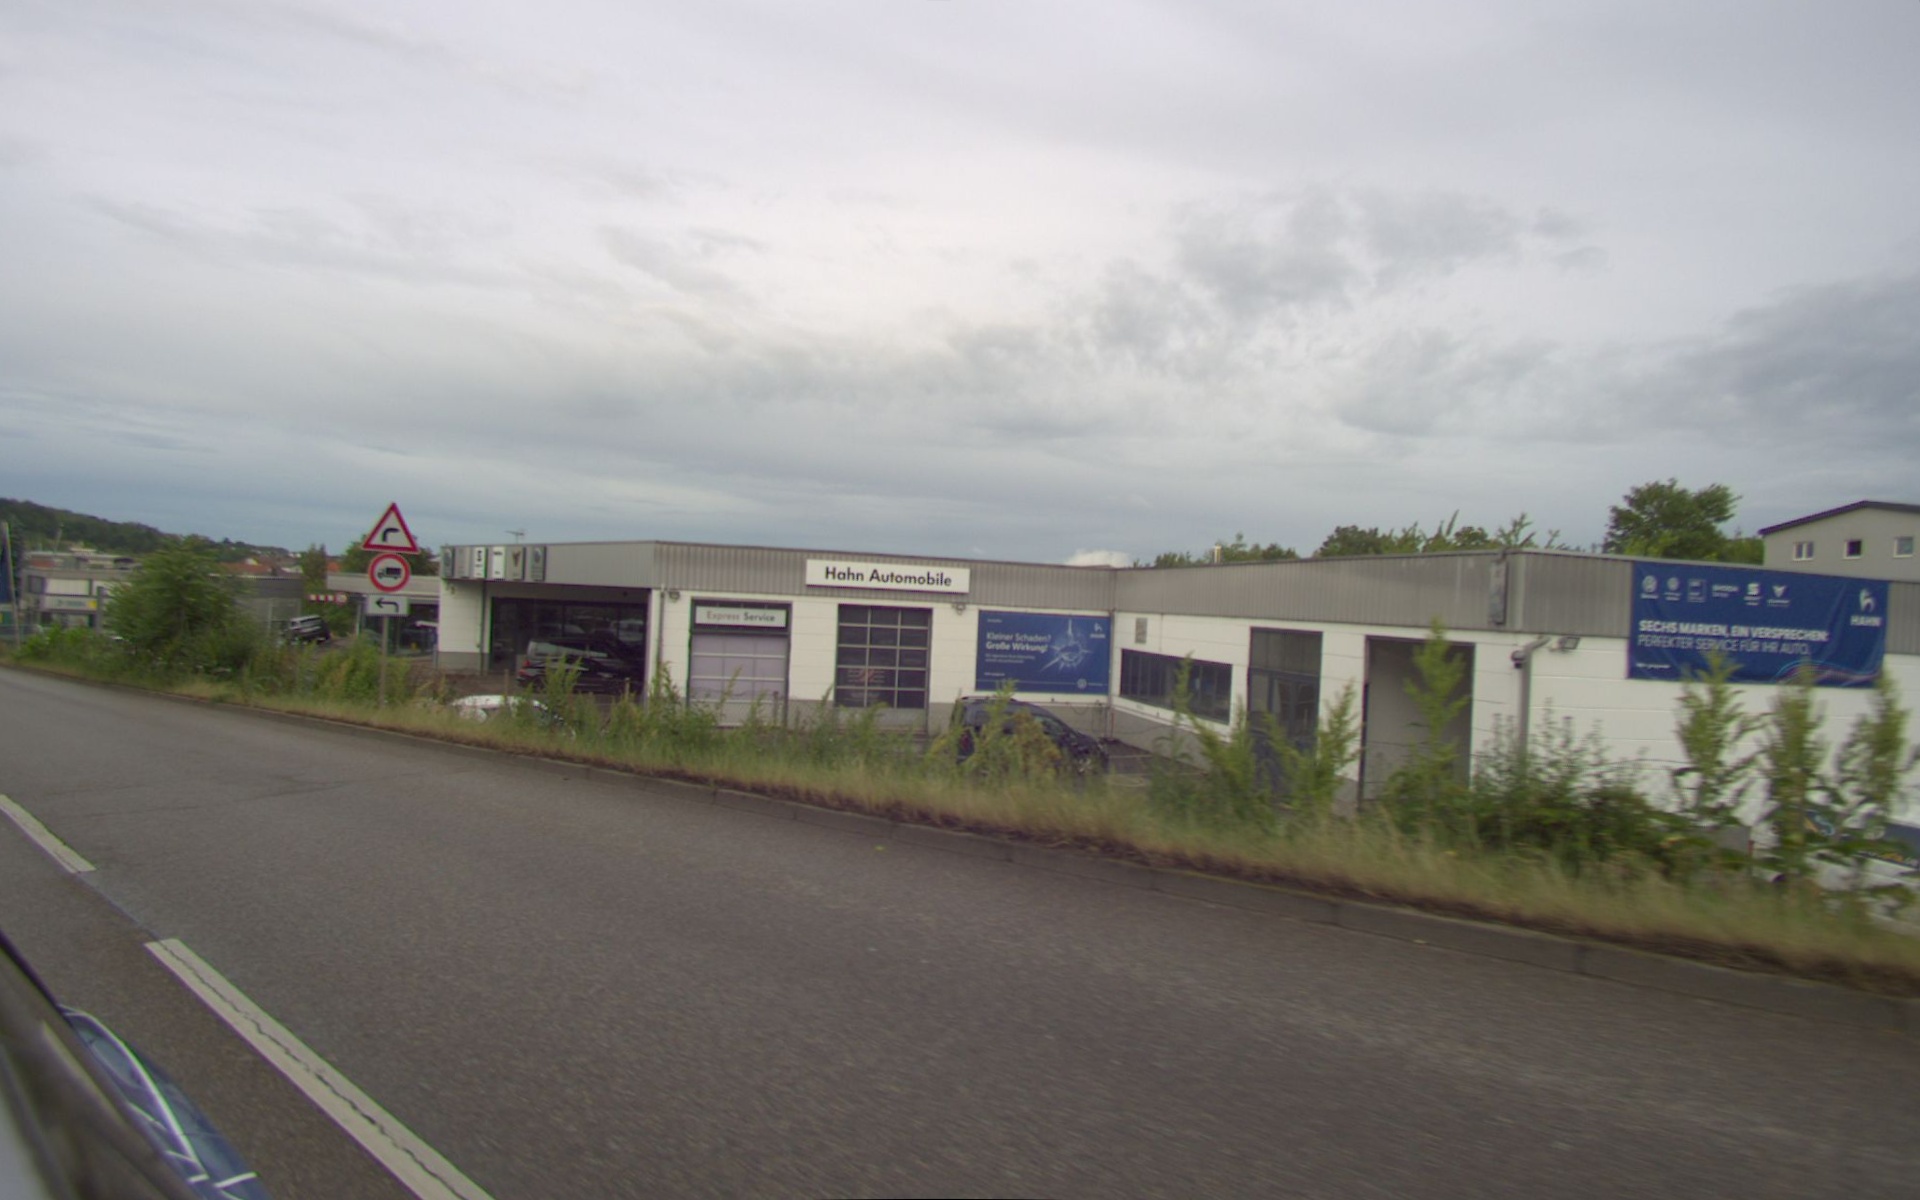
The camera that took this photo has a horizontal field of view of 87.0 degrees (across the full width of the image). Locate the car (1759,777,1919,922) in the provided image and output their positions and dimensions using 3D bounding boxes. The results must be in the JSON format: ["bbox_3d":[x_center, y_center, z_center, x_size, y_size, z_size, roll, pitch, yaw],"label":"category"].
[{"bbox_3d":[14.329,3.624,14.168,1.836,1.817,4.655,5,-6,-18],"label":"car"}]

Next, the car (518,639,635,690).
[{"bbox_3d":[-16.473,2.780,43.719,4.410,1.975,1.994,3,-3,-14],"label":"car"}]

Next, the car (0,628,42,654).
[{"bbox_3d":[-69.496,2.915,72.646,1.816,1.885,5.029,-1,-3,31],"label":"car"}]

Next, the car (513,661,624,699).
[{"bbox_3d":[-15.598,3.188,40.539,3.954,1.427,1.959,1,-3,-16],"label":"car"}]

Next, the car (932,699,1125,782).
[{"bbox_3d":[1.736,3.627,26.304,4.565,1.817,1.872,5,-6,-12],"label":"car"}]

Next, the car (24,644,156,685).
[{"bbox_3d":[-40.496,2.983,47.195,1.932,1.811,4.369,-2,-3,39],"label":"car"}]

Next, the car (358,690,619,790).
[{"bbox_3d":[-9.899,2.990,21.602,1.864,1.817,4.583,-1,-8,37],"label":"car"}]
